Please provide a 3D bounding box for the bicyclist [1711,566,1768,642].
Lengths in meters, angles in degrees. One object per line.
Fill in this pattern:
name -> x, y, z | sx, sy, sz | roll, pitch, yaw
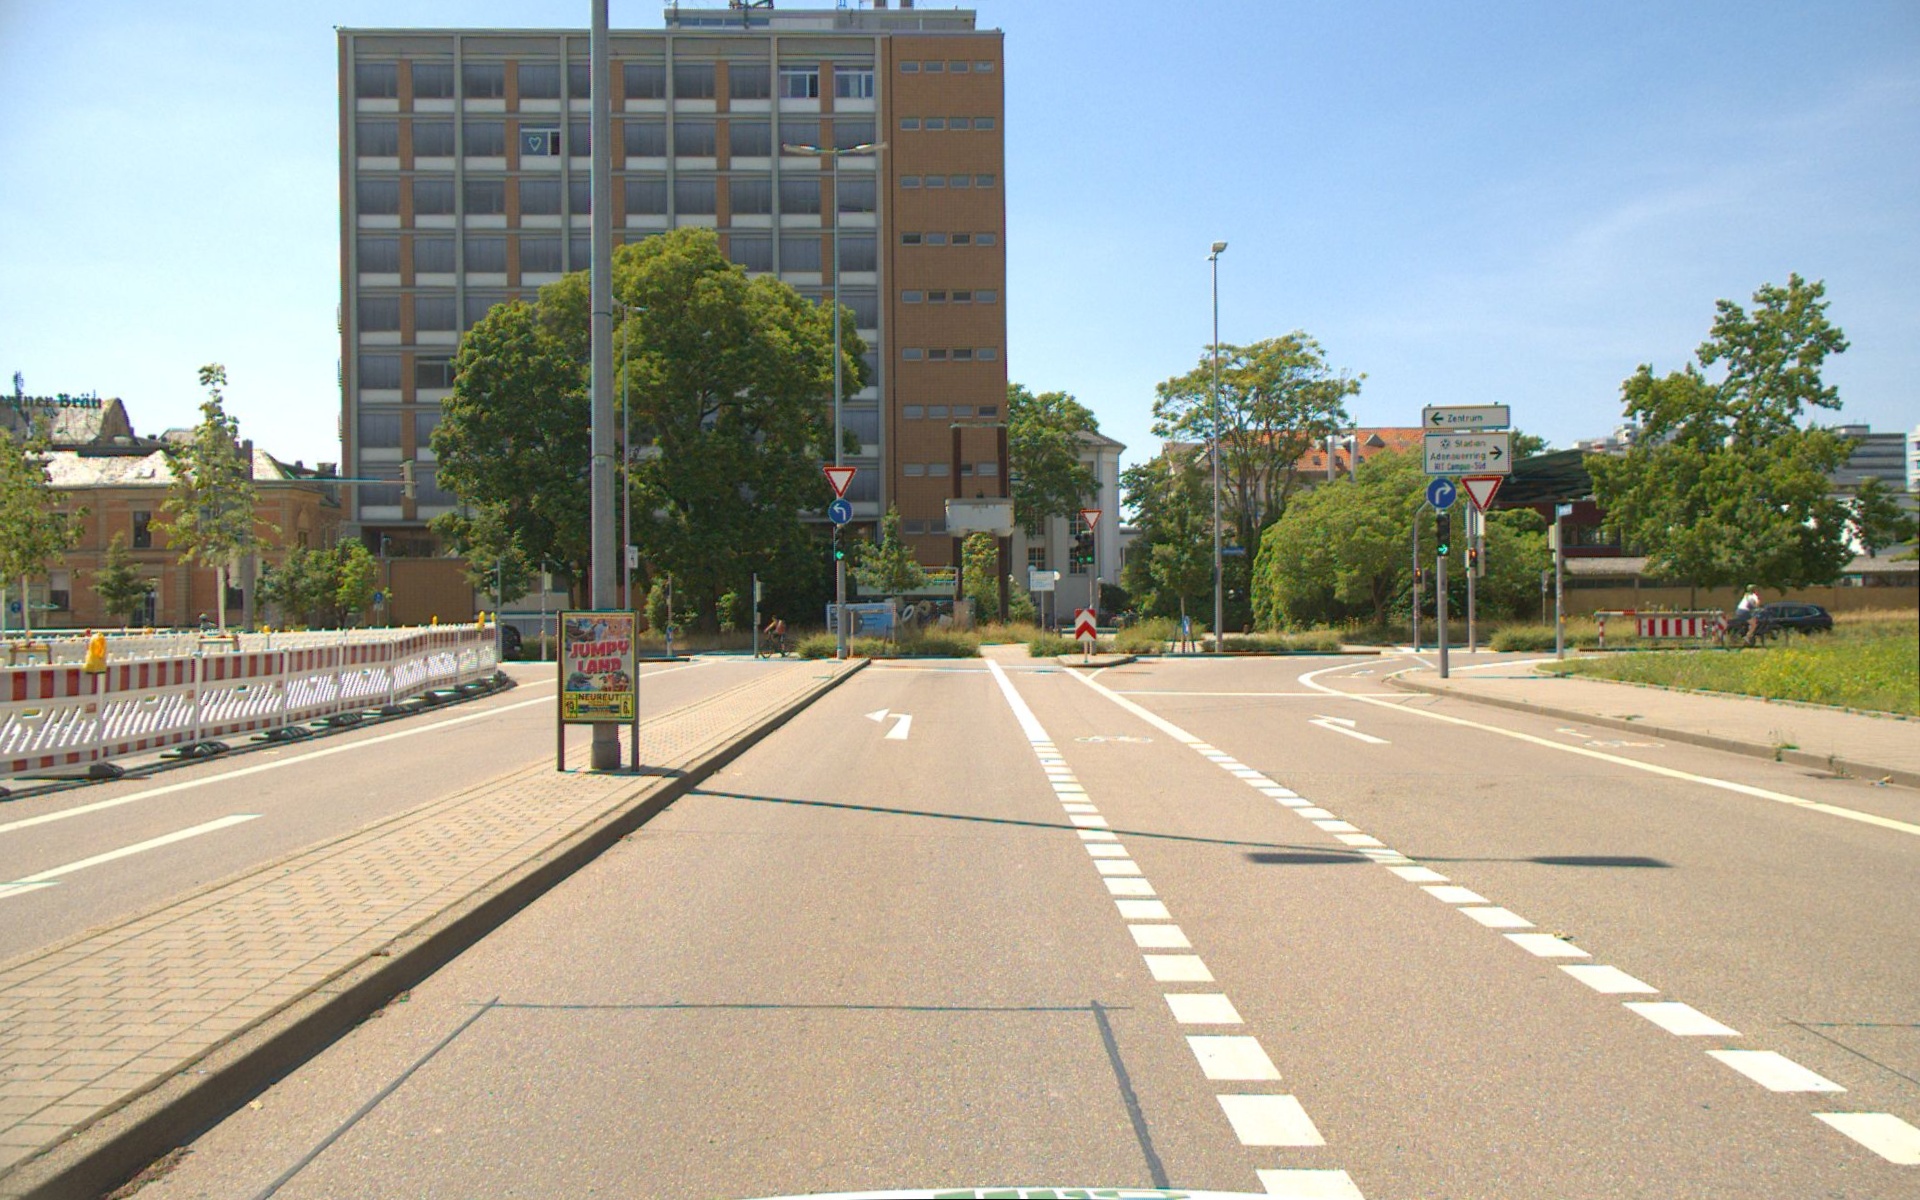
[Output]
bicyclist -> 20.030, 0.097, 42.526 | 1.114, 1.920, 0.707 | 1, -1, -9

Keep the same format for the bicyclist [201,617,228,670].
bicyclist -> -22.799, 1.327, 50.579 | 0.486, 1.607, 0.531 | -2, -2, 17

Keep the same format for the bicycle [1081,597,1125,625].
bicycle -> 11.165, 0.856, 129.088 | 3.376, 2.049, 0.760 | 1, -1, 1

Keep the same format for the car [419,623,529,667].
car -> -18.698, 1.705, 63.703 | 3.682, 1.579, 1.620 | 1, -1, 11

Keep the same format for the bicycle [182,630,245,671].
bicycle -> -22.814, 1.531, 50.573 | 1.852, 1.201, 0.524 | -2, -1, 17

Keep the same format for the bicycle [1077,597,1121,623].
bicycle -> 11.039, 0.793, 131.354 | 3.376, 2.049, 0.760 | 1, -1, 1

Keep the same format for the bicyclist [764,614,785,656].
bicyclist -> -7.874, 1.488, 70.112 | 0.541, 1.745, 0.699 | 1, 1, 40

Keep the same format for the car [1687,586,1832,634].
car -> 29.251, 0.372, 60.632 | 4.445, 1.614, 1.710 | -1, -1, 6

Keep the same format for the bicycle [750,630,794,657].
bicycle -> -7.959, 1.848, 70.043 | 0.548, 1.063, 1.986 | 0, 1, 41

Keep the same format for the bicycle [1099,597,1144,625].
bicycle -> 12.314, 0.847, 126.050 | 3.376, 2.049, 0.760 | 1, -1, 1

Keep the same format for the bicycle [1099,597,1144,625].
bicycle -> 12.444, 0.840, 127.219 | 3.376, 2.049, 0.760 | 1, -1, 1

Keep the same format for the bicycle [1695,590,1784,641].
bicycle -> 20.024, 0.392, 42.496 | 2.144, 1.259, 0.520 | 1, -1, -9
